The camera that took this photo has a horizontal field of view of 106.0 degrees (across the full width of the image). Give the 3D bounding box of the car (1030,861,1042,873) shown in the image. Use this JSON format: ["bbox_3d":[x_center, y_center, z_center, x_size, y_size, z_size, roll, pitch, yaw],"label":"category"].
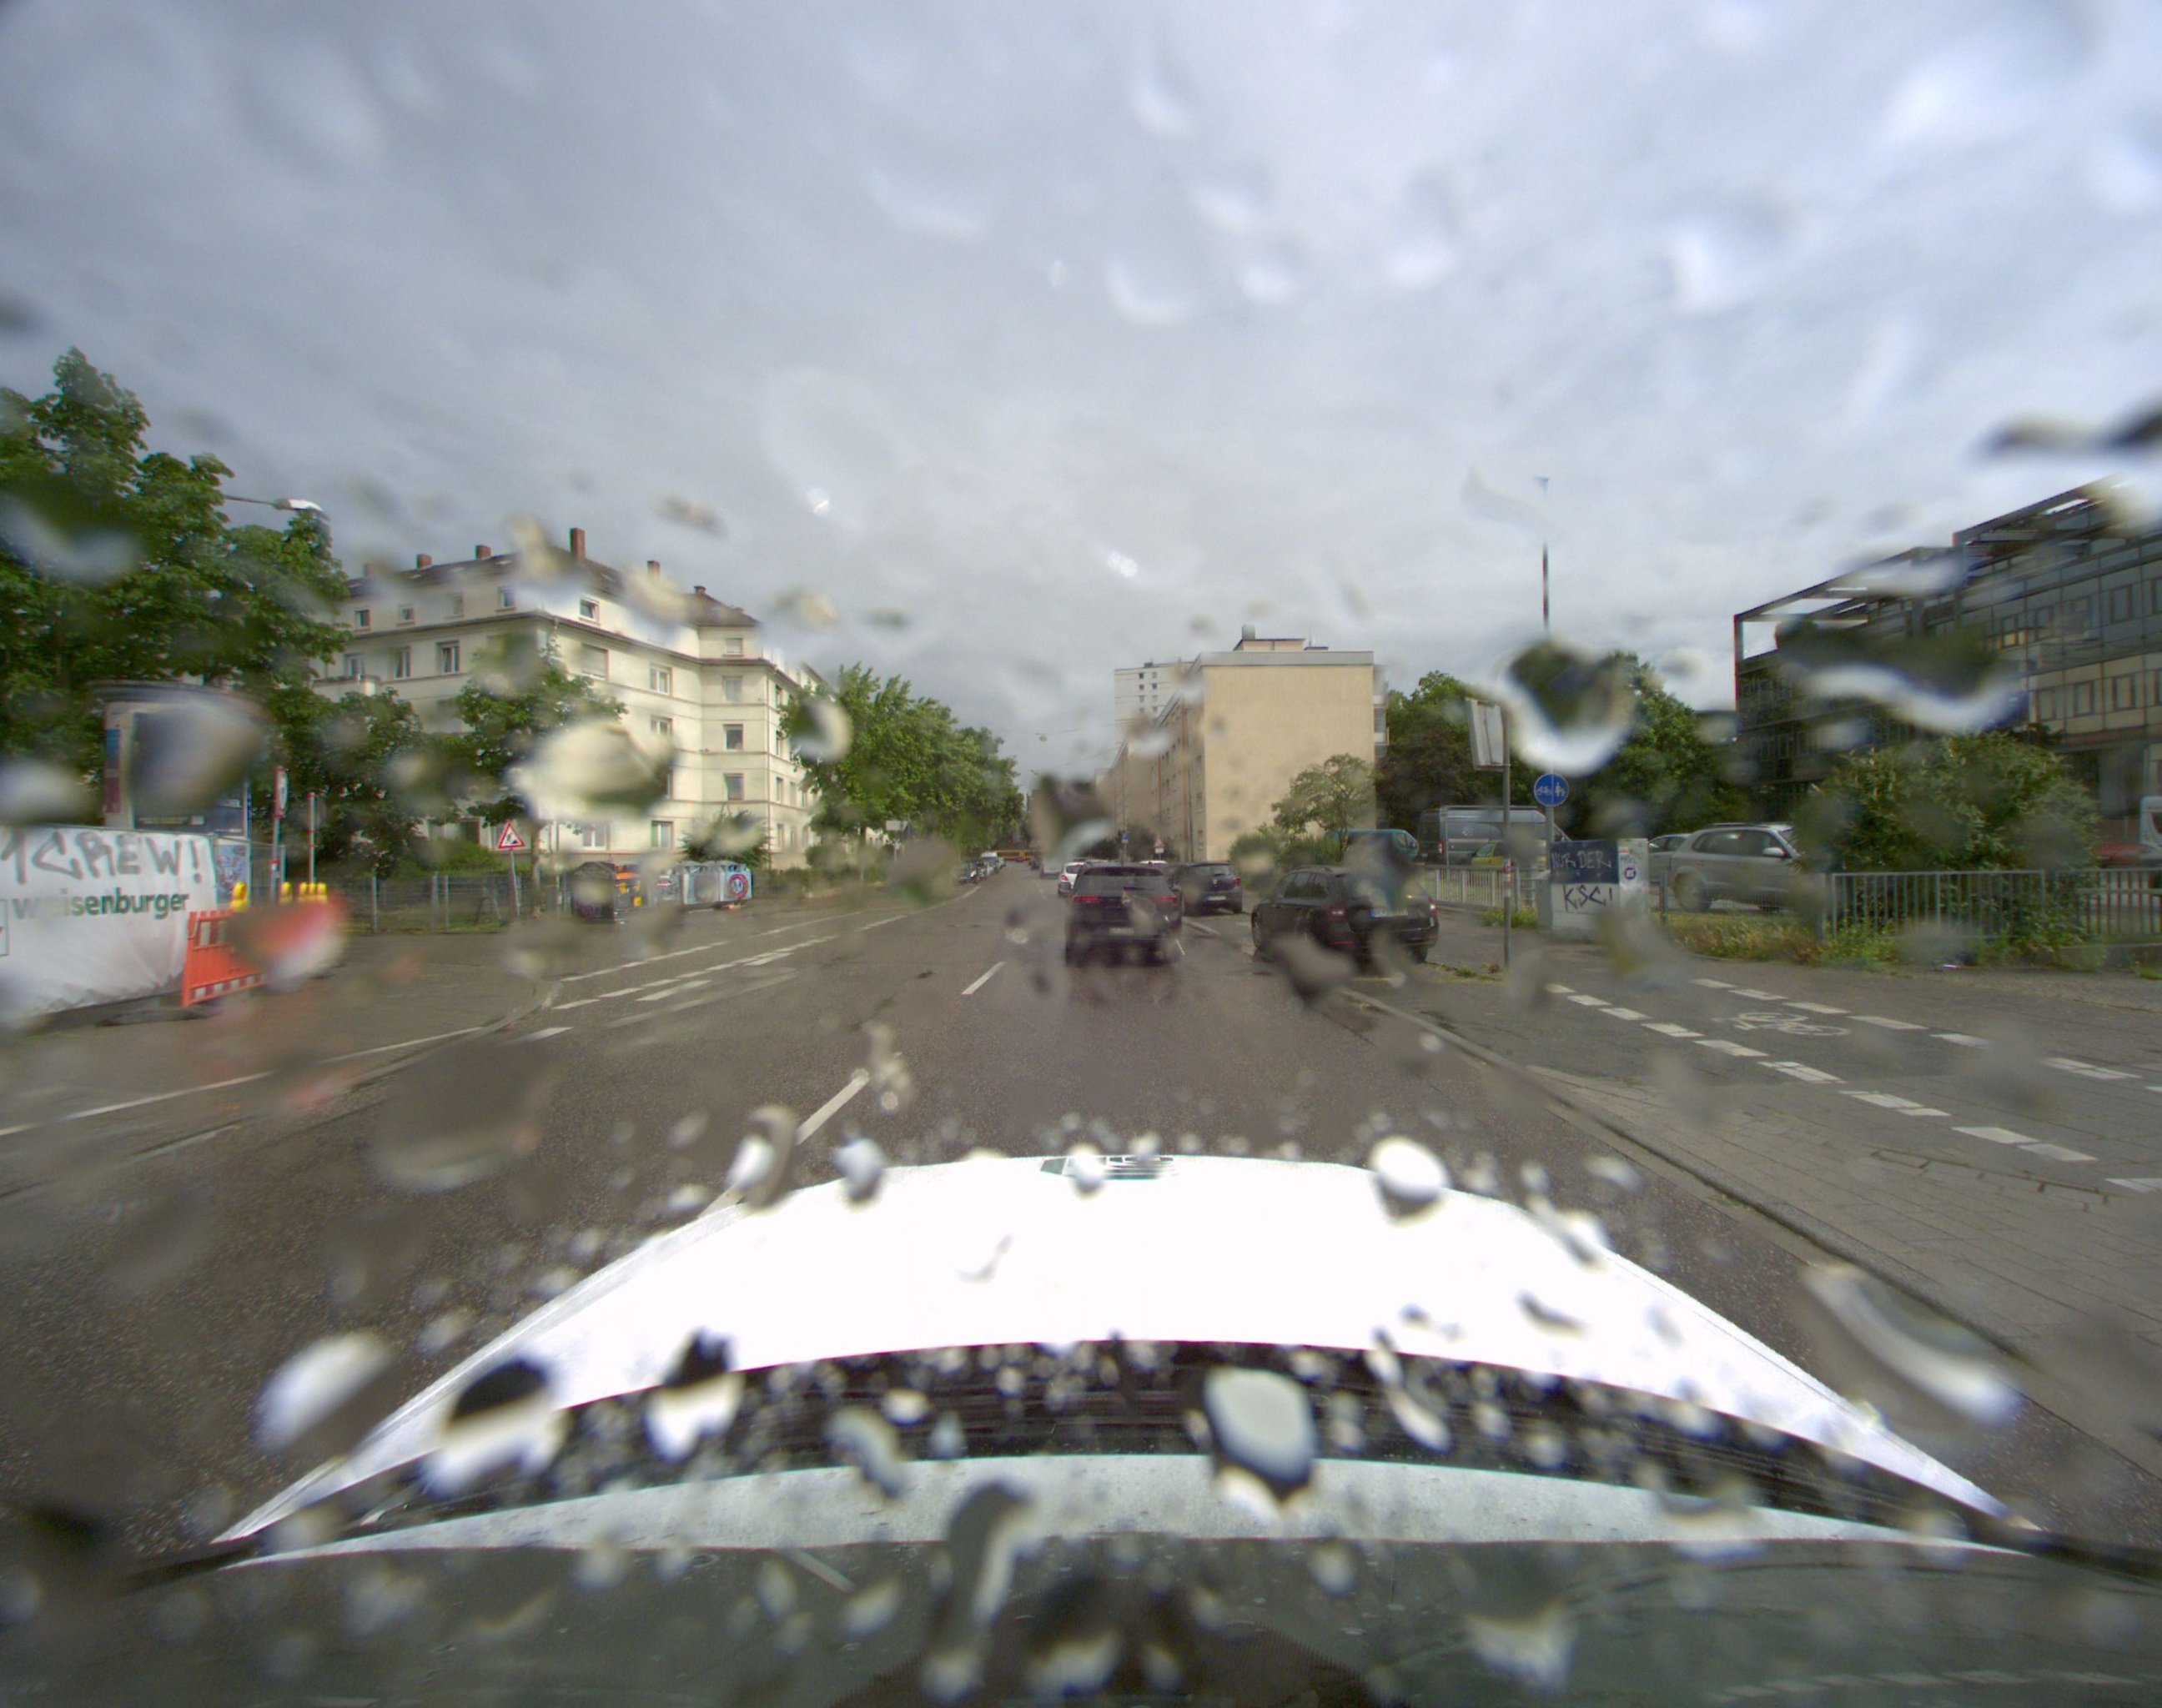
[{"bbox_3d":[-6.169,1.771,111.459,1.602,1.510,3.542,-2,0,-5],"label":"car"}]

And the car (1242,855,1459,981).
[{"bbox_3d":[3.967,0.853,12.860,1.770,1.539,4.374,-3,0,-2],"label":"car"}]

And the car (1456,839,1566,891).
[{"bbox_3d":[12.964,0.318,24.751,1.604,1.449,3.418,-2,0,2],"label":"car"}]

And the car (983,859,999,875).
[{"bbox_3d":[-9.748,1.417,88.539,1.583,1.639,3.913,-2,0,-5],"label":"car"}]

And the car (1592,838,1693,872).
[{"bbox_3d":[26.774,0.063,38.891,3.652,1.486,1.640,-2,0,2],"label":"car"}]

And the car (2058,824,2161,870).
[{"bbox_3d":[37.227,-0.237,28.807,3.490,1.519,1.683,1,-1,-4],"label":"car"}]

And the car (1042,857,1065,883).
[{"bbox_3d":[-2.289,1.329,68.715,1.831,2.103,3.996,1,-1,-2],"label":"car"}]

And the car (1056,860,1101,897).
[{"bbox_3d":[-0.135,1.054,35.281,1.808,1.503,3.998,1,-1,-1],"label":"car"}]

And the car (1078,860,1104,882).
[{"bbox_3d":[0.767,1.280,62.521,1.602,1.506,4.025,-2,0,-5],"label":"car"}]

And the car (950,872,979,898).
[{"bbox_3d":[-7.466,1.956,52.564,1.583,1.506,4.057,-2,0,-5],"label":"car"}]

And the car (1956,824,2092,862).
[{"bbox_3d":[38.905,-0.433,33.661,3.654,1.486,1.672,-1,0,0],"label":"car"}]

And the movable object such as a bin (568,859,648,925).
[{"bbox_3d":[-13.691,1.097,23.602,1.525,1.824,1.269,-2,0,18],"label":"movable object such as a bin"}]

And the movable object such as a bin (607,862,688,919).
[{"bbox_3d":[-13.355,1.103,25.151,1.525,1.656,1.535,-2,0,18],"label":"movable object such as a bin"}]

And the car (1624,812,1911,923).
[{"bbox_3d":[12.607,0.231,15.402,1.798,1.750,4.236,-2,0,-1],"label":"car"}]

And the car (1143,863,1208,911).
[{"bbox_3d":[3.319,1.143,29.317,1.601,1.508,4.155,-3,-1,-3],"label":"car"}]

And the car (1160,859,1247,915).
[{"bbox_3d":[3.598,0.949,24.561,1.753,1.528,3.994,-1,-1,-4],"label":"car"}]

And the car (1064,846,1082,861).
[{"bbox_3d":[-0.904,-0.043,92.170,1.835,1.608,3.675,-3,0,0],"label":"car"}]

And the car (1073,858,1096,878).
[{"bbox_3d":[0.278,1.188,70.820,1.602,1.672,4.025,-2,0,-5],"label":"car"}]

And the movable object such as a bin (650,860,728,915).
[{"bbox_3d":[-12.837,1.081,26.726,1.525,1.674,1.673,-2,0,18],"label":"movable object such as a bin"}]

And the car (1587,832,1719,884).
[{"bbox_3d":[17.980,0.122,25.801,1.642,1.486,3.720,-2,0,2],"label":"car"}]

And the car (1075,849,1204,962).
[{"bbox_3d":[0.858,0.806,14.058,1.868,1.645,4.059,1,-1,-1],"label":"car"}]

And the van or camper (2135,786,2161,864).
[{"bbox_3d":[36.981,-0.919,25.638,4.772,2.487,2.256,1,-1,-2],"label":"van or camper"}]

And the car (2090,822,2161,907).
[{"bbox_3d":[20.288,0.163,13.490,1.821,1.527,4.428,-2,0,4],"label":"car"}]

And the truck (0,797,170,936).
[{"bbox_3d":[-29.289,0.445,20.715,9.745,3.184,3.805,-2,0,13],"label":"truck"}]

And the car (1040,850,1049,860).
[{"bbox_3d":[-6.902,0.151,154.868,1.662,1.838,3.996,-2,0,-3],"label":"car"}]

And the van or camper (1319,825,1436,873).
[{"bbox_3d":[13.993,-0.212,38.668,4.740,2.131,2.323,-1,0,2],"label":"van or camper"}]

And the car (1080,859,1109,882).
[{"bbox_3d":[0.935,1.131,57.062,1.692,1.539,4.027,-2,0,-3],"label":"car"}]

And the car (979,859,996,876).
[{"bbox_3d":[-9.488,1.325,82.662,1.583,1.639,3.913,-2,0,-5],"label":"car"}]

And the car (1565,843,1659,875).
[{"bbox_3d":[26.796,0.242,41.177,3.652,1.486,1.640,-2,0,2],"label":"car"}]

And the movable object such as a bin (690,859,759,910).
[{"bbox_3d":[-12.349,1.036,28.254,1.525,1.662,1.466,-2,0,18],"label":"movable object such as a bin"}]

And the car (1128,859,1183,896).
[{"bbox_3d":[3.210,1.035,35.828,1.746,1.508,4.104,-1,-2,-5],"label":"car"}]

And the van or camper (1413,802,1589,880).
[{"bbox_3d":[14.505,-0.416,28.353,4.982,2.554,2.174,-1,-1,0],"label":"van or camper"}]
